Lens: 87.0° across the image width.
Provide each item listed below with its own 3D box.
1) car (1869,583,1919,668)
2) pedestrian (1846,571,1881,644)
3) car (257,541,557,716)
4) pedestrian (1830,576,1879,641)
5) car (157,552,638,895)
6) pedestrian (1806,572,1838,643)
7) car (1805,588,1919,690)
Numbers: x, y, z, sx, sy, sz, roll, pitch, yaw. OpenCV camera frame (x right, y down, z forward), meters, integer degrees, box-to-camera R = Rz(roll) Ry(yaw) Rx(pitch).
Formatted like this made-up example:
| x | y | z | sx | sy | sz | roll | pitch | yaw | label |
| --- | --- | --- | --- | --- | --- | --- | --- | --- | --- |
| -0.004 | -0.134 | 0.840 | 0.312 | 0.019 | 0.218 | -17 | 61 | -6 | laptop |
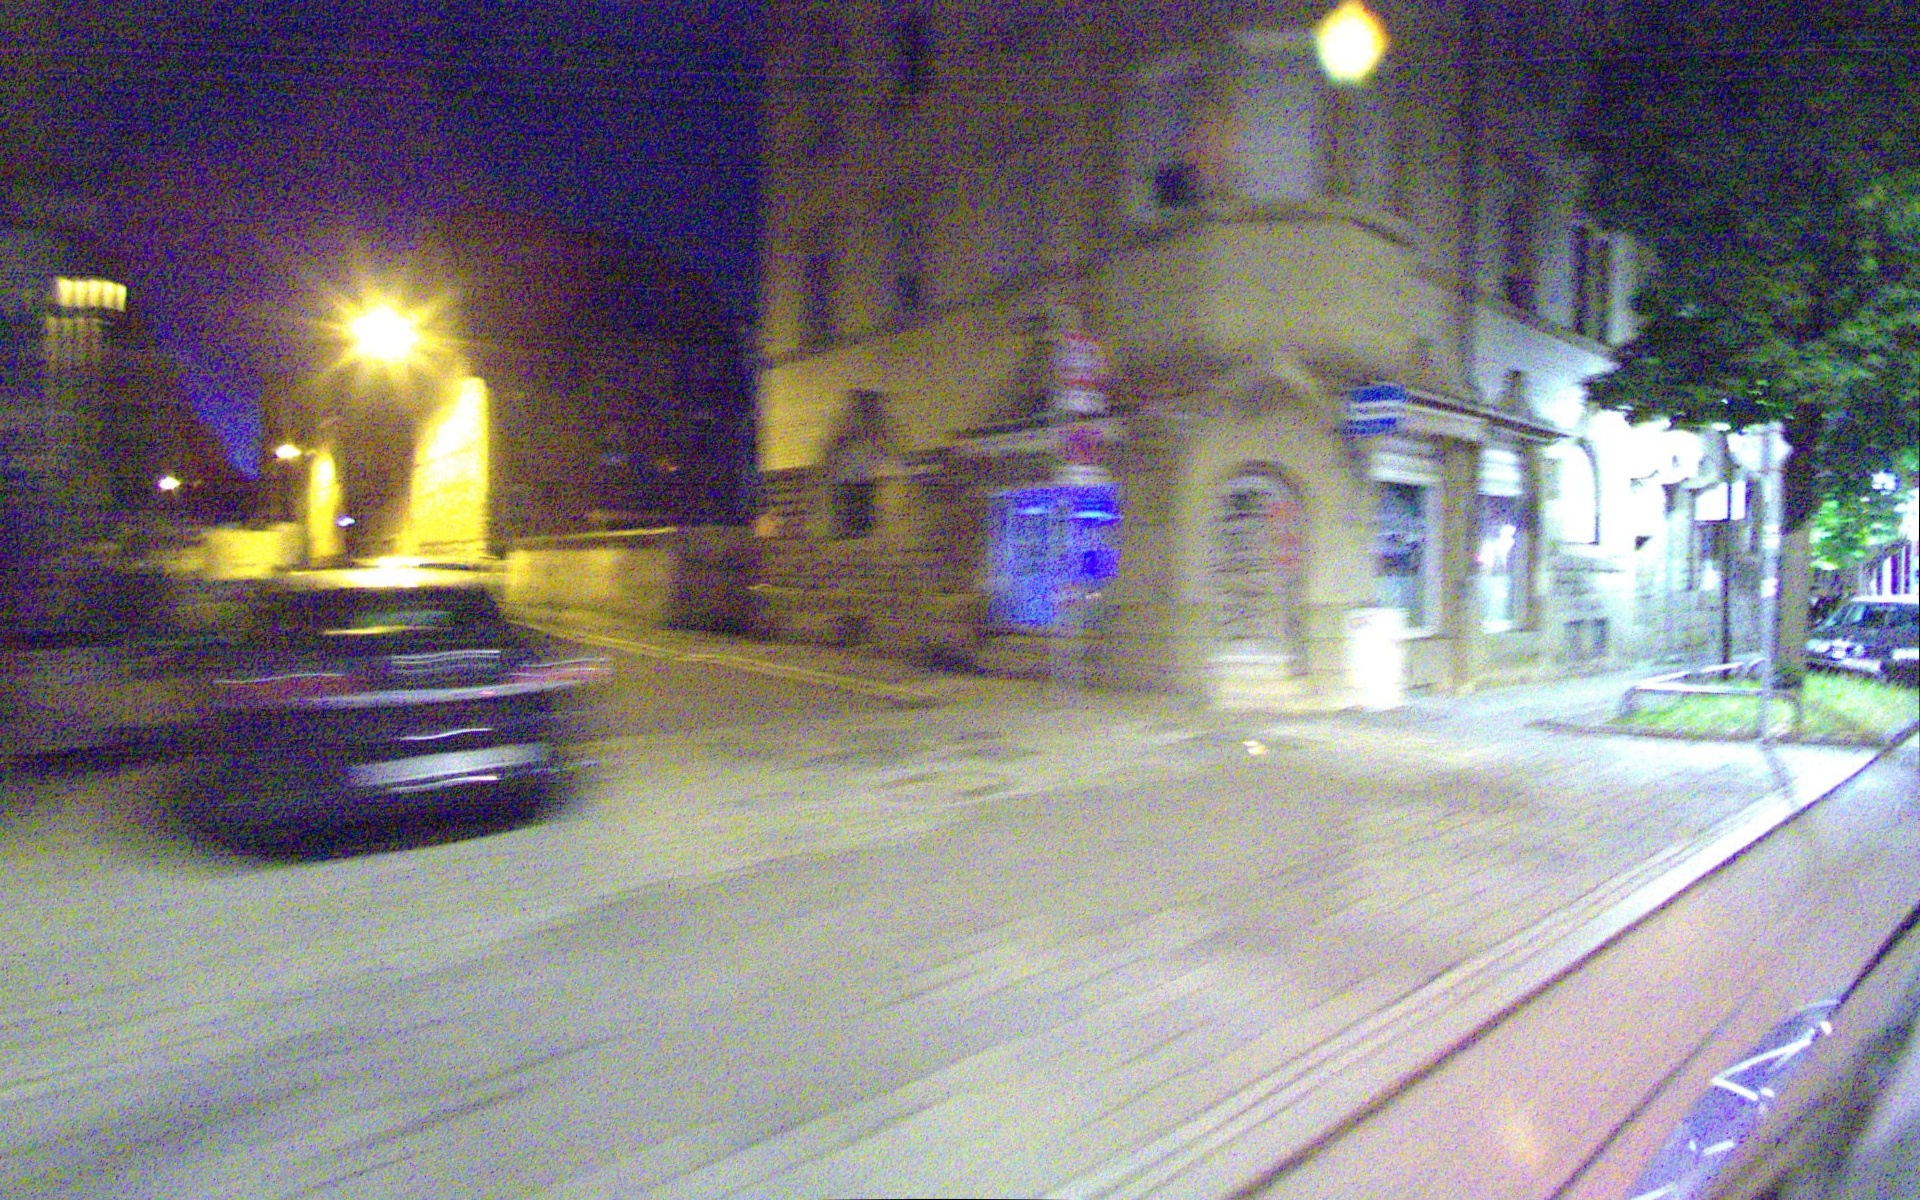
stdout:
| x | y | z | sx | sy | sz | roll | pitch | yaw | label |
| --- | --- | --- | --- | --- | --- | --- | --- | --- | --- |
| 19.380 | 0.480 | 19.880 | 4.390 | 1.519 | 1.736 | -1 | 3 | -42 | car |
| 21.878 | 0.179 | 24.513 | 0.692 | 1.730 | 0.508 | 0 | 1 | -40 | pedestrian |
| -6.012 | 0.153 | 10.750 | 1.821 | 1.486 | 4.197 | -1 | 3 | -43 | car |
| 23.314 | 0.198 | 26.371 | 0.949 | 1.651 | 0.809 | -1 | 0 | -39 | pedestrian |
| -3.752 | 0.437 | 6.377 | 1.821 | 1.439 | 4.021 | -3 | 3 | -41 | car |
| 21.354 | 0.171 | 25.060 | 0.561 | 1.730 | 0.477 | 0 | 1 | -40 | pedestrian |
| 15.434 | 0.563 | 16.520 | 3.927 | 1.472 | 1.741 | -1 | 2 | -38 | car |
